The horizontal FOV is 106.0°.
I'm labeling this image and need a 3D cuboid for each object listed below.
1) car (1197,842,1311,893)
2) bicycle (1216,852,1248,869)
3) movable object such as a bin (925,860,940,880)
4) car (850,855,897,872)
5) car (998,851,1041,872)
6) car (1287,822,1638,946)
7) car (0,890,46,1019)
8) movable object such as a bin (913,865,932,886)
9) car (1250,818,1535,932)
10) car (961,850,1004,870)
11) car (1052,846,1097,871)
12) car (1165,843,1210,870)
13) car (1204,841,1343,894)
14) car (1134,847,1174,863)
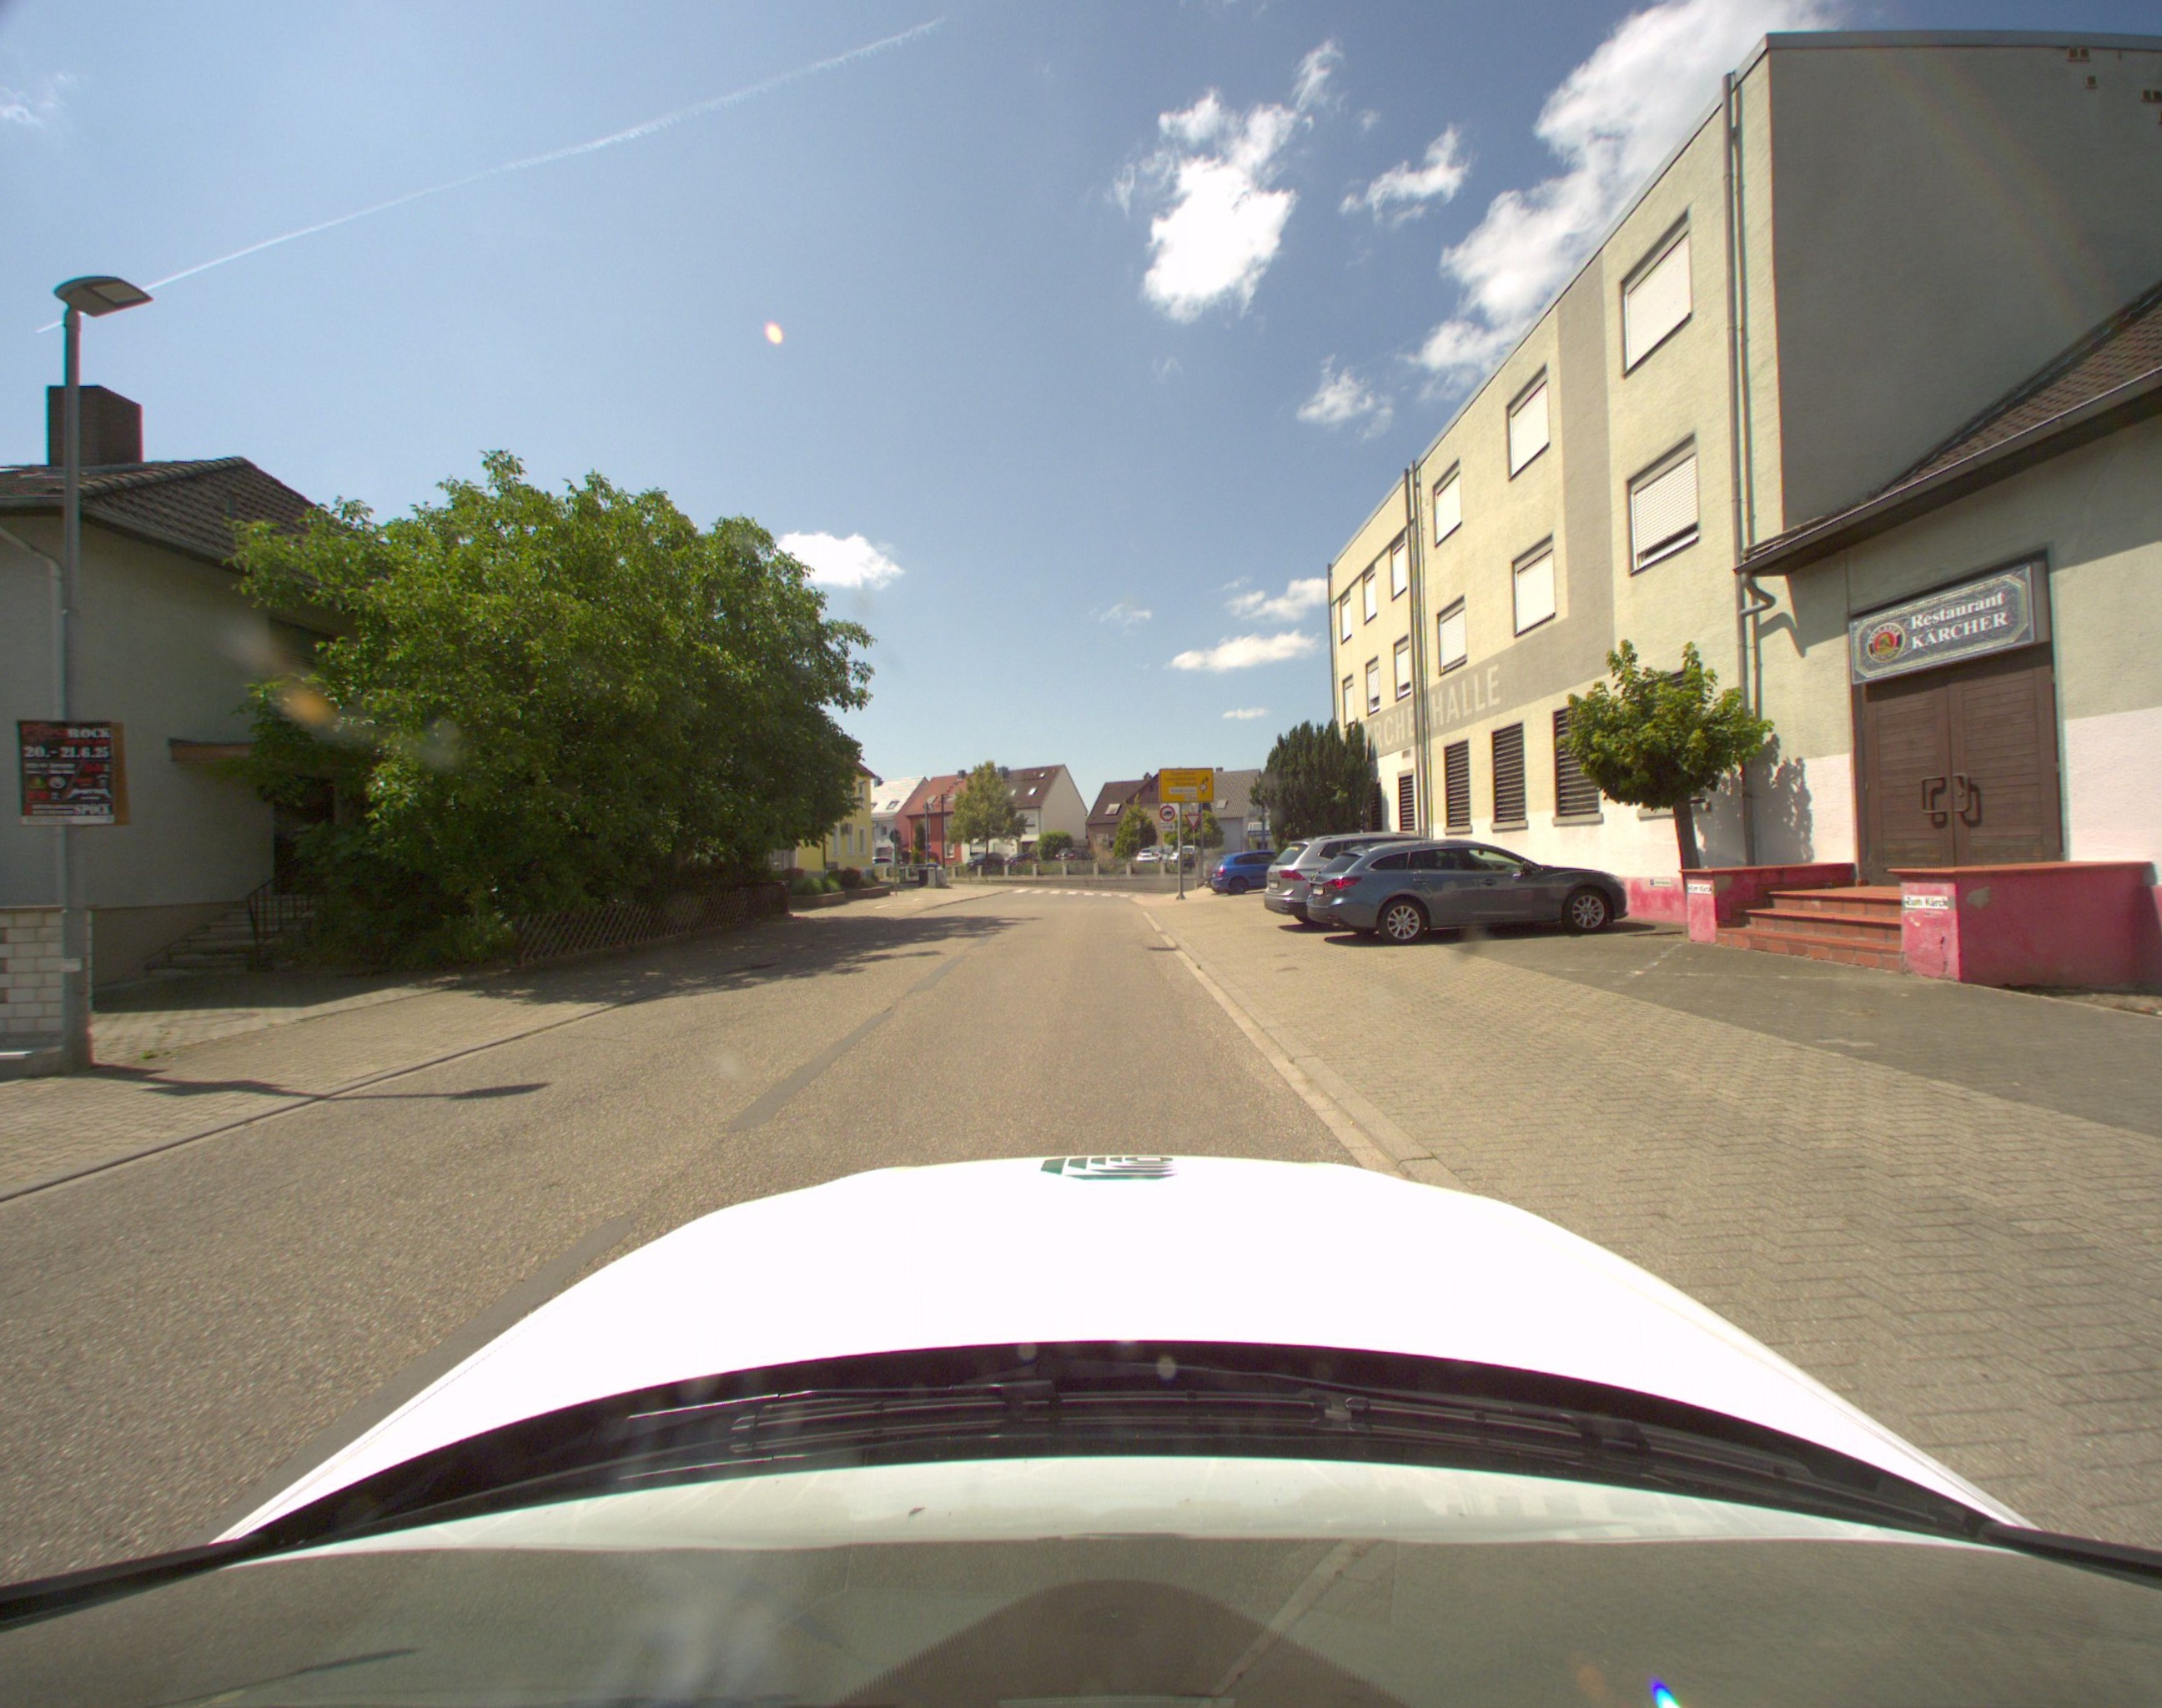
[{"bbox_3d":[6.647,0.534,31.636,3.885,1.490,1.808,-7,-2,-2],"label":"car"},{"bbox_3d":[10.374,0.454,55.967,2.097,1.126,0.335,-1,0,20],"label":"bicycle"},{"bbox_3d":[-9.241,1.013,50.659,0.840,1.213,1.271,0,-1,-12],"label":"movable object such as a bin"},{"bbox_3d":[-19.959,0.948,78.333,1.725,1.488,4.283,2,-1,33],"label":"car"},{"bbox_3d":[-5.036,0.634,67.317,1.850,1.586,3.630,3,-1,27],"label":"car"},{"bbox_3d":[5.735,0.428,12.692,4.487,1.520,1.999,-3,0,-1],"label":"car"},{"bbox_3d":[-14.726,1.271,9.159,3.898,1.492,1.795,-2,1,2],"label":"car"},{"bbox_3d":[-9.175,1.240,47.289,0.881,1.225,0.902,-1,-1,2],"label":"movable object such as a bin"},{"bbox_3d":[5.578,0.352,14.965,4.441,1.697,1.921,-3,0,-2],"label":"car"},{"bbox_3d":[-8.346,0.528,69.117,1.850,1.586,3.630,3,-1,27],"label":"car"},{"bbox_3d":[-0.484,0.406,65.341,1.850,1.797,4.023,2,-1,27],"label":"car"},{"bbox_3d":[7.982,0.227,60.646,1.975,1.797,4.221,2,-1,27],"label":"car"},{"bbox_3d":[6.633,0.491,28.369,4.310,1.440,1.779,-5,-3,-1],"label":"car"},{"bbox_3d":[5.588,0.073,61.727,1.808,1.020,3.479,3,-1,27],"label":"car"}]
